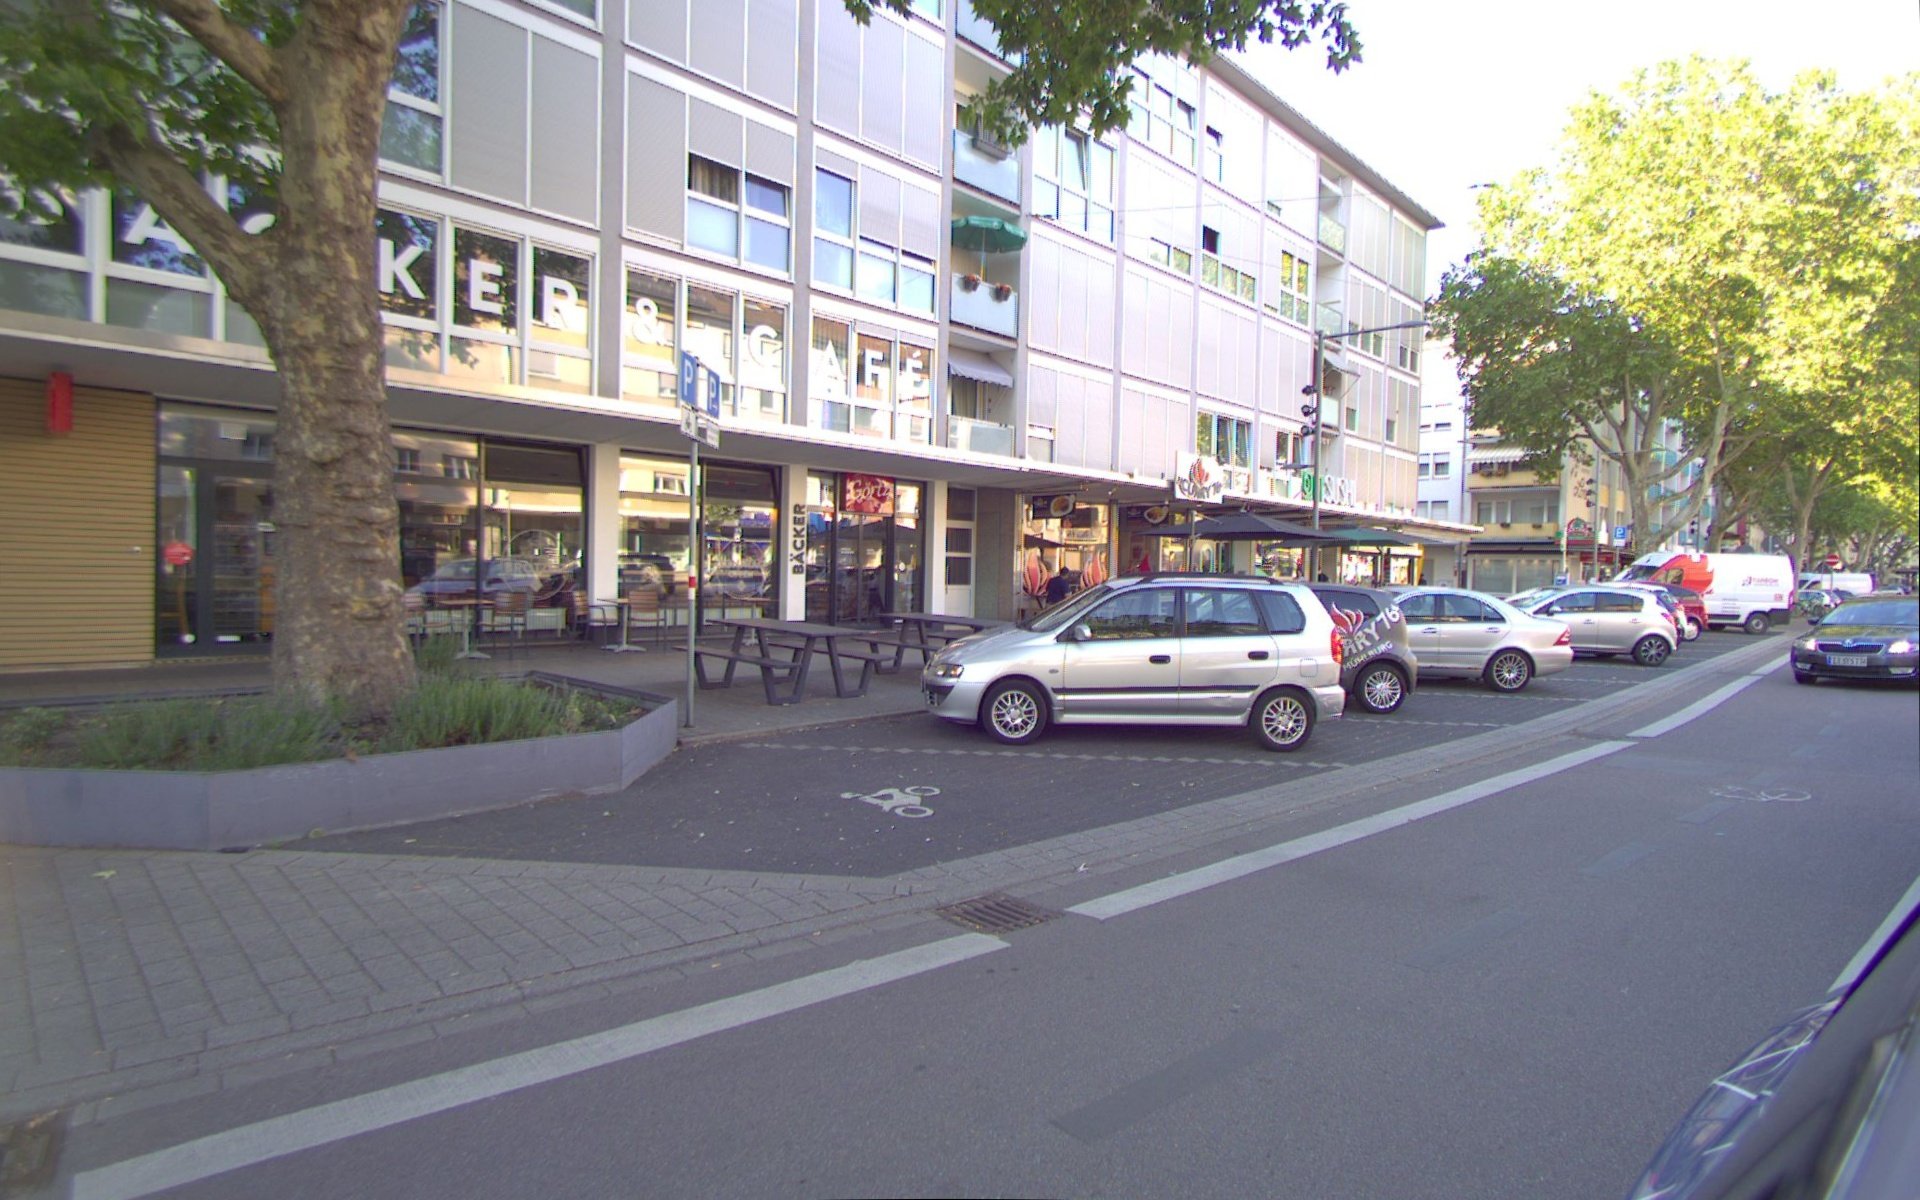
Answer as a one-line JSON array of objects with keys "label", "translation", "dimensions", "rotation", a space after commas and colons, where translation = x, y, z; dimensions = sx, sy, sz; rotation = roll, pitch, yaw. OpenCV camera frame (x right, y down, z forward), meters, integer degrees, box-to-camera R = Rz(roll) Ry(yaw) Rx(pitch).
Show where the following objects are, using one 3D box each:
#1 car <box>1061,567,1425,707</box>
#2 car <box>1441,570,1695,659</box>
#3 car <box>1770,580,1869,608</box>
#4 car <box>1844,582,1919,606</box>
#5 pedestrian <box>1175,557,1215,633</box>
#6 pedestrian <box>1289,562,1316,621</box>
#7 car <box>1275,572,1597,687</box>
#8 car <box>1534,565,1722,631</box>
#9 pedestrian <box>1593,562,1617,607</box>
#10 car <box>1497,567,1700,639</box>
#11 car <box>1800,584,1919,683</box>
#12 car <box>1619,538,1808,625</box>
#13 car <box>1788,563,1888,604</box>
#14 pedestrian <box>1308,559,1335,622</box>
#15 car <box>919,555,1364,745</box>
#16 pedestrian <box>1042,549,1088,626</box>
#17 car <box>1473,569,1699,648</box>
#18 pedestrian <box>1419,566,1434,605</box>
[{"label": "car", "translation": [3.310, 0.401, 12.343], "dimensions": [3.864, 1.446, 1.679], "rotation": [2, 3, -3]}, {"label": "car", "translation": [11.783, 0.243, 19.813], "dimensions": [3.871, 1.446, 1.559], "rotation": [3, 3, 4]}, {"label": "car", "translation": [48.051, -0.359, 56.653], "dimensions": [3.864, 1.422, 1.782], "rotation": [1, 2, 3]}, {"label": "car", "translation": [56.493, -0.355, 61.459], "dimensions": [3.864, 1.350, 1.782], "rotation": [1, 2, 3]}, {"label": "pedestrian", "translation": [5.029, -0.121, 21.689], "dimensions": [0.559, 1.596, 0.632], "rotation": [2, 2, 44]}, {"label": "pedestrian", "translation": [9.740, -0.250, 28.810], "dimensions": [0.536, 1.660, 0.470], "rotation": [2, 2, 45]}, {"label": "car", "translation": [6.839, 0.387, 14.819], "dimensions": [3.867, 1.418, 1.598], "rotation": [2, 3, 1]}, {"label": "car", "translation": [18.099, -0.097, 27.629], "dimensions": [3.892, 1.445, 1.667], "rotation": [4, 5, 20]}, {"label": "pedestrian", "translation": [29.666, -0.726, 46.571], "dimensions": [0.746, 2.038, 0.752], "rotation": [2, 2, 45]}, {"label": "car", "translation": [15.827, 0.032, 25.313], "dimensions": [3.888, 1.445, 1.669], "rotation": [4, 5, 17]}, {"label": "car", "translation": [15.386, 0.479, 16.746], "dimensions": [4.156, 1.470, 1.726], "rotation": [-1, 0, -42]}, {"label": "car", "translation": [23.758, -0.584, 32.043], "dimensions": [4.514, 2.525, 1.675], "rotation": [2, 0, 5]}, {"label": "car", "translation": [56.483, -1.083, 65.166], "dimensions": [4.512, 2.499, 1.977], "rotation": [1, 2, 3]}, {"label": "pedestrian", "translation": [10.143, -0.272, 28.411], "dimensions": [0.544, 1.741, 0.450], "rotation": [2, 2, 45]}, {"label": "car", "translation": [1.593, 0.418, 9.836], "dimensions": [3.906, 1.560, 1.679], "rotation": [2, 3, -3]}, {"label": "pedestrian", "translation": [2.215, -0.275, 21.423], "dimensions": [0.757, 1.602, 0.583], "rotation": [0, 2, -39]}, {"label": "car", "translation": [13.863, 0.150, 22.672], "dimensions": [3.886, 1.446, 1.670], "rotation": [3, 3, 16]}, {"label": "pedestrian", "translation": [20.859, -0.654, 45.261], "dimensions": [0.473, 1.751, 0.347], "rotation": [1, 1, 11]}]
